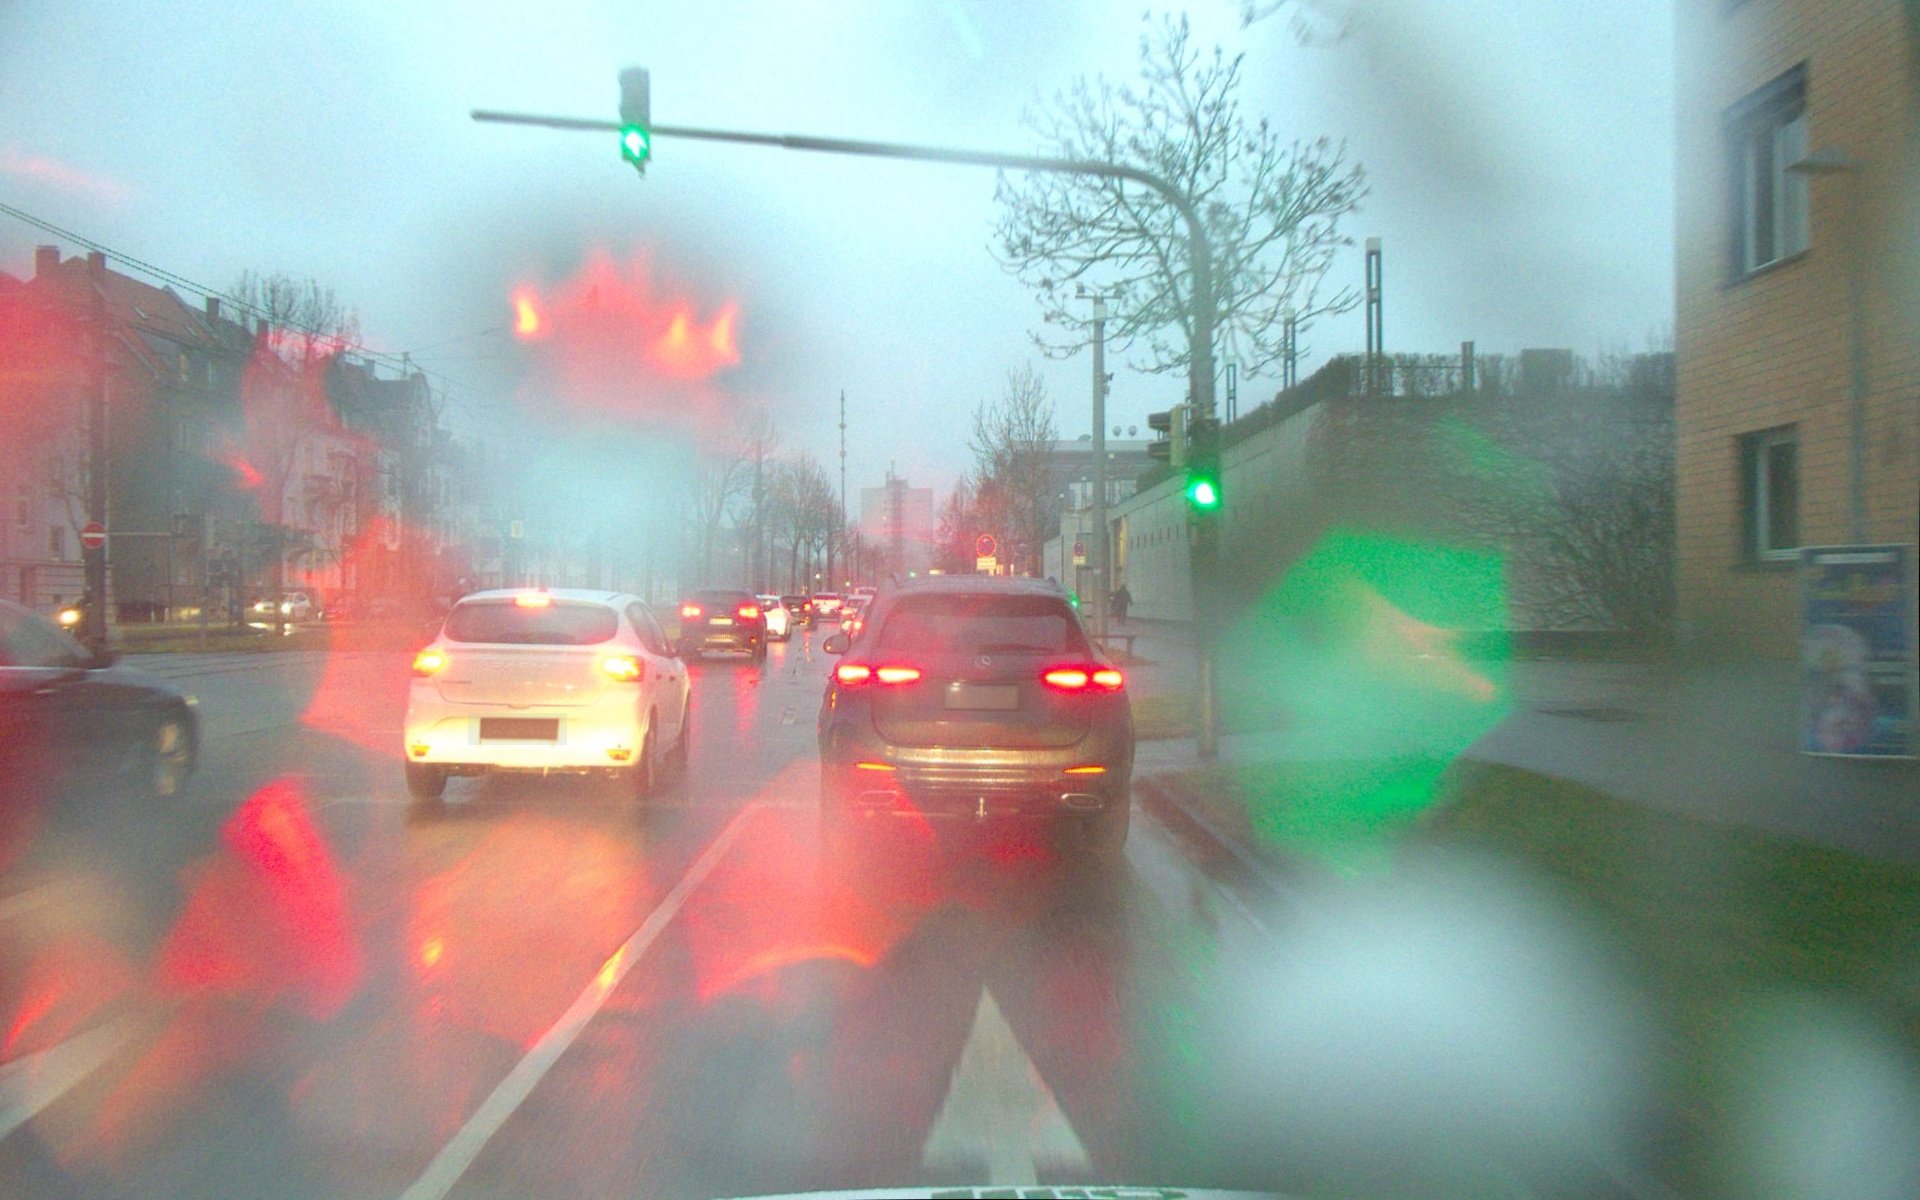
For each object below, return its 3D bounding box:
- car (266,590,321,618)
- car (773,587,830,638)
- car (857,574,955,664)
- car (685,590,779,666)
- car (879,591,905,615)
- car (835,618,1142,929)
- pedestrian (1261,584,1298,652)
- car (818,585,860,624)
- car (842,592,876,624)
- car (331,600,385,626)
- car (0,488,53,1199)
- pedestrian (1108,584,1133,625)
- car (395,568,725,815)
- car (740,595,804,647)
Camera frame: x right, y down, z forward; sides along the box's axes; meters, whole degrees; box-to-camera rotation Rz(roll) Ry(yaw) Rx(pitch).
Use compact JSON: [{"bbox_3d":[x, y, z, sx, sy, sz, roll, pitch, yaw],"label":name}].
[{"bbox_3d":[-37.419,0.209,92.908,1.740,1.526,3.556,-1,0,-2],"label":"car"},{"bbox_3d":[-6.744,0.557,70.596,1.953,2.049,4.000,2,-1,0],"label":"car"},{"bbox_3d":[-1.089,0.380,35.025,1.953,1.774,3.999,0,0,-1],"label":"car"},{"bbox_3d":[-5.190,0.614,38.077,1.638,1.628,4.053,1,0,-1],"label":"car"},{"bbox_3d":[-5.731,0.247,140.157,1.952,2.049,4.000,0,0,0],"label":"car"},{"bbox_3d":[0.139,0.958,10.963,1.638,1.628,4.053,1,0,-1],"label":"car"},{"bbox_3d":[7.870,0.435,40.757,0.609,1.639,1.066,0,0,-5],"label":"pedestrian"},{"bbox_3d":[-6.605,0.272,90.862,1.953,2.049,4.000,2,-1,0],"label":"car"},{"bbox_3d":[-6.713,0.521,110.509,1.953,2.049,4.000,2,-1,0],"label":"car"},{"bbox_3d":[-33.006,0.690,90.821,1.740,1.378,3.556,-1,0,-2],"label":"car"},{"bbox_3d":[-2.860,0.568,1.575,1.772,1.628,4.053,1,0,-1],"label":"car"},{"bbox_3d":[6.596,0.172,68.105,0.919,1.646,0.694,-1,0,-4],"label":"pedestrian"},{"bbox_3d":[-2.958,0.616,13.074,1.638,1.628,4.053,1,0,-1],"label":"car"},{"bbox_3d":[-6.094,0.667,53.941,1.638,1.628,4.053,1,0,-1],"label":"car"}]
